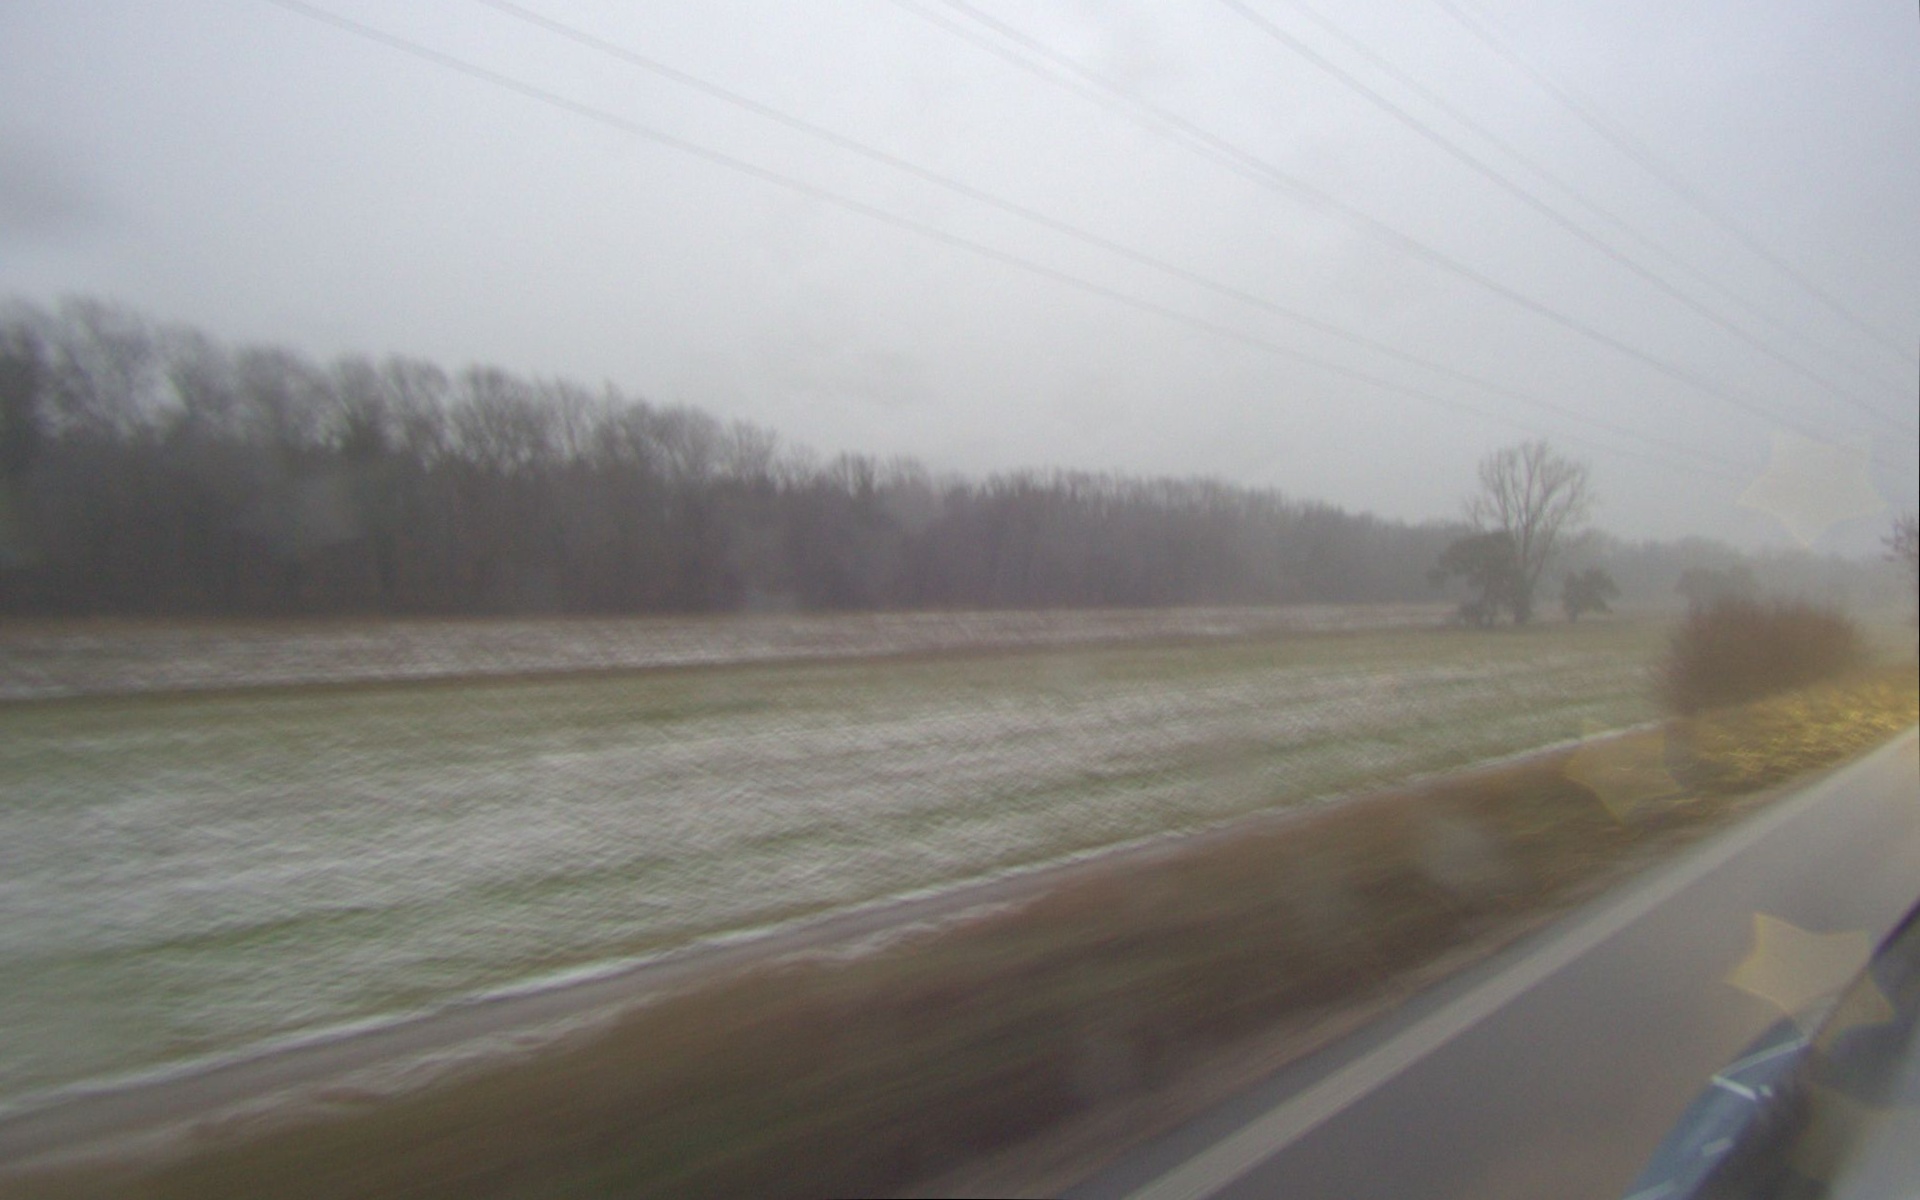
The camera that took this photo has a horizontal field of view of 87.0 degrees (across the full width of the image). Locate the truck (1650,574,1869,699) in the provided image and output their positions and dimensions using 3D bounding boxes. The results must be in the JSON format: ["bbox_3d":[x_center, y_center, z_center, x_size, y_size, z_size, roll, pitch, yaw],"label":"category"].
[{"bbox_3d":[20.394,0.733,25.457,10.618,2.603,2.507,0,0,-42],"label":"truck"}]
